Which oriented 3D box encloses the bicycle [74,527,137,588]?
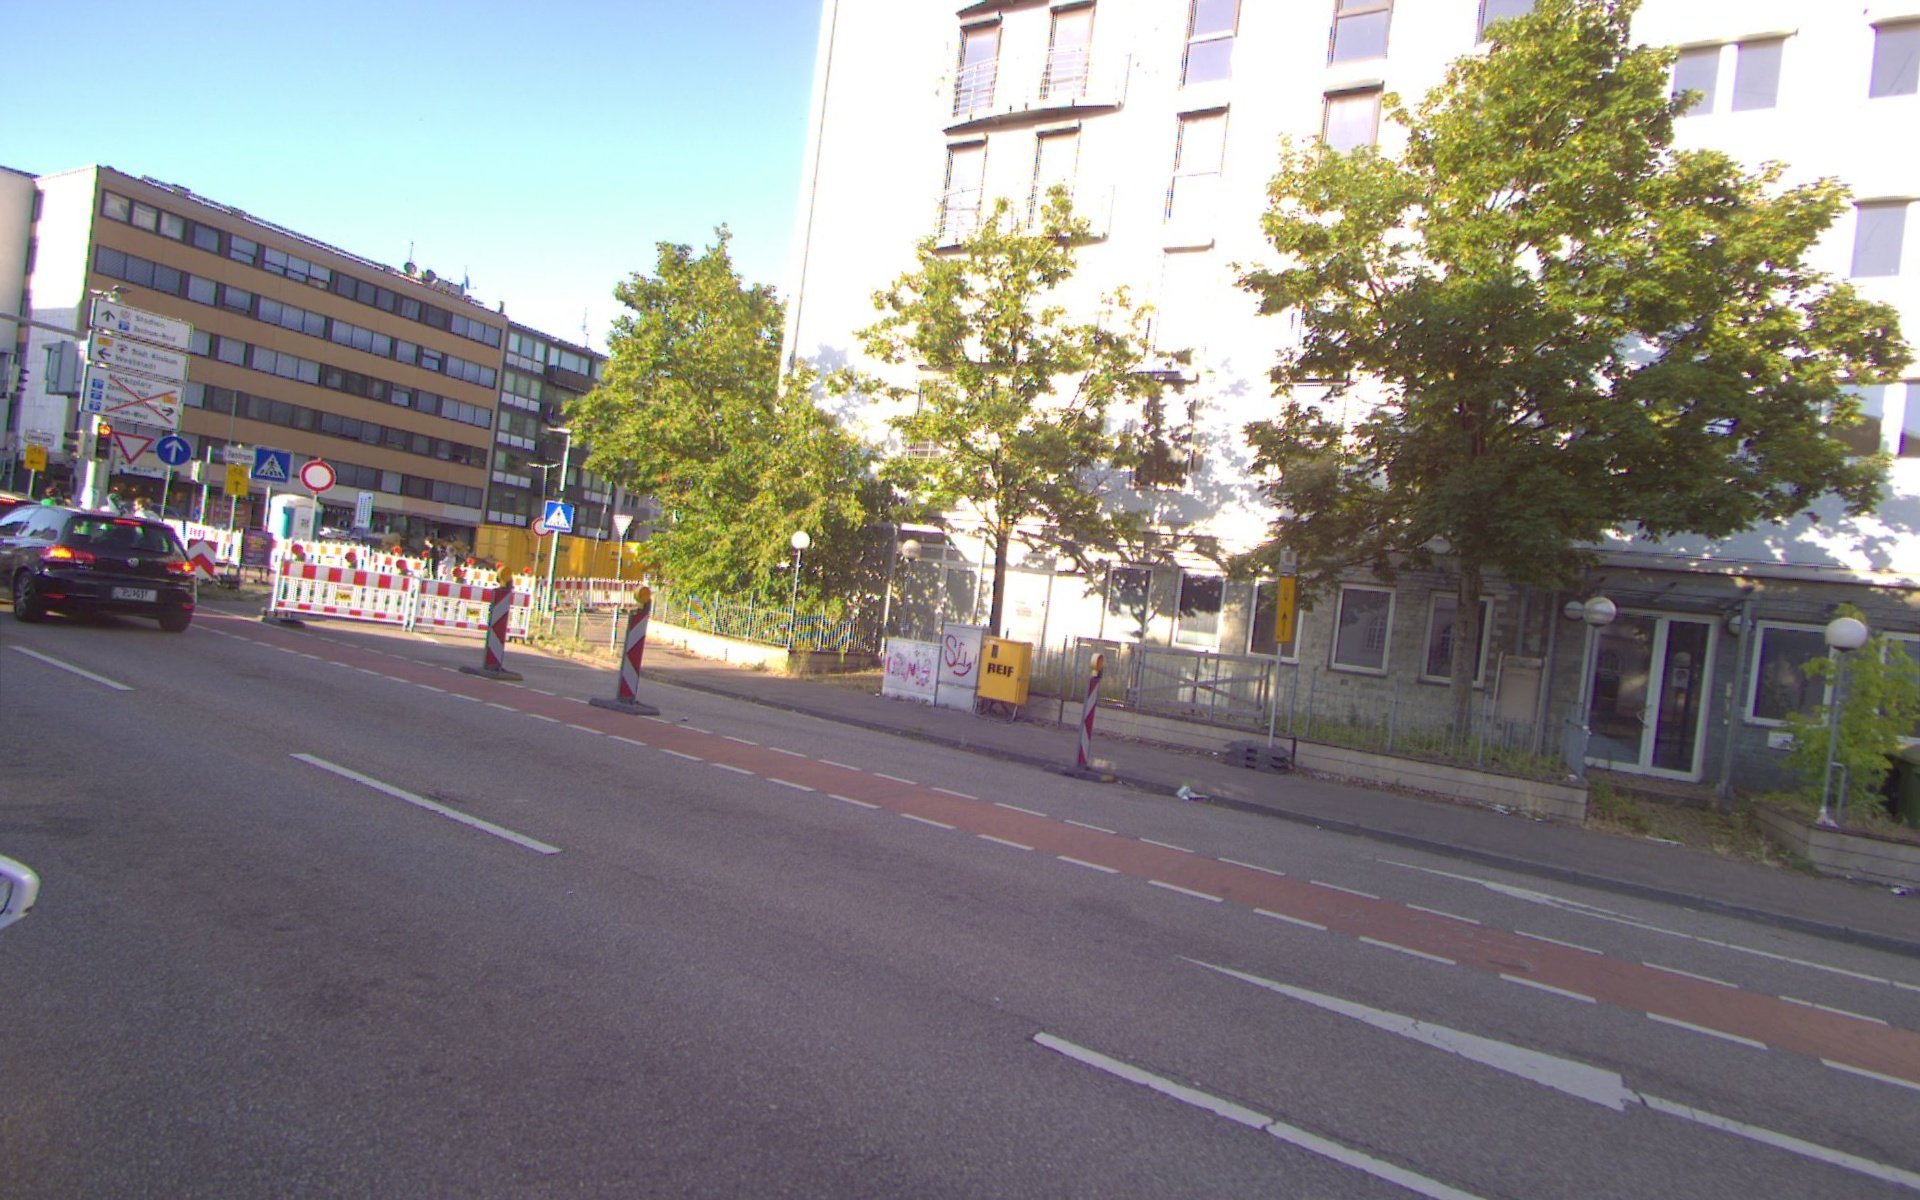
[{"bbox_3d":[-16.790,-0.850,19.762,1.825,1.020,0.337,7,0,32],"label":"bicycle"}]

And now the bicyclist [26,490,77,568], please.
[{"bbox_3d":[-19.252,-1.506,21.322,0.713,1.544,0.514,7,0,32],"label":"bicyclist"}]

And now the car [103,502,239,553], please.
[{"bbox_3d":[-35.004,-3.194,44.790,1.755,1.568,4.352,7,-1,24],"label":"car"}]

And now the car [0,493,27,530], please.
[{"bbox_3d":[-41.151,-3.899,41.095,1.756,1.437,3.997,7,-1,27],"label":"car"}]

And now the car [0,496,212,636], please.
[{"bbox_3d":[-11.936,-0.518,13.559,3.683,1.466,1.637,7,-2,32],"label":"car"}]

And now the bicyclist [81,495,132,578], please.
[{"bbox_3d":[-16.807,-1.244,19.808,0.713,1.544,0.441,7,0,32],"label":"bicyclist"}]

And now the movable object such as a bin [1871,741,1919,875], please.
[{"bbox_3d":[11.925,2.542,12.019,1.087,1.479,1.350,7,0,27],"label":"movable object such as a bin"}]

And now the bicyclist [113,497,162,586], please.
[{"bbox_3d":[-15.124,-1.075,18.508,0.474,1.544,0.441,7,0,32],"label":"bicyclist"}]

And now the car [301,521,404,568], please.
[{"bbox_3d":[-32.777,-2.969,54.357,1.967,1.839,4.221,7,-1,32],"label":"car"}]

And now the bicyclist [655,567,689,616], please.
[{"bbox_3d":[-10.244,-0.296,35.818,0.608,1.607,0.815,8,0,17],"label":"bicyclist"}]

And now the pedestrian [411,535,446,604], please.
[{"bbox_3d":[-14.821,-0.836,28.041,0.478,1.857,0.571,7,0,-2],"label":"pedestrian"}]

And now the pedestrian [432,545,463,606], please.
[{"bbox_3d":[-14.691,-0.700,28.834,0.446,1.691,0.603,7,0,-7],"label":"pedestrian"}]

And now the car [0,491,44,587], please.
[{"bbox_3d":[-16.645,-1.162,16.493,3.250,1.467,1.507,7,0,32],"label":"car"}]
